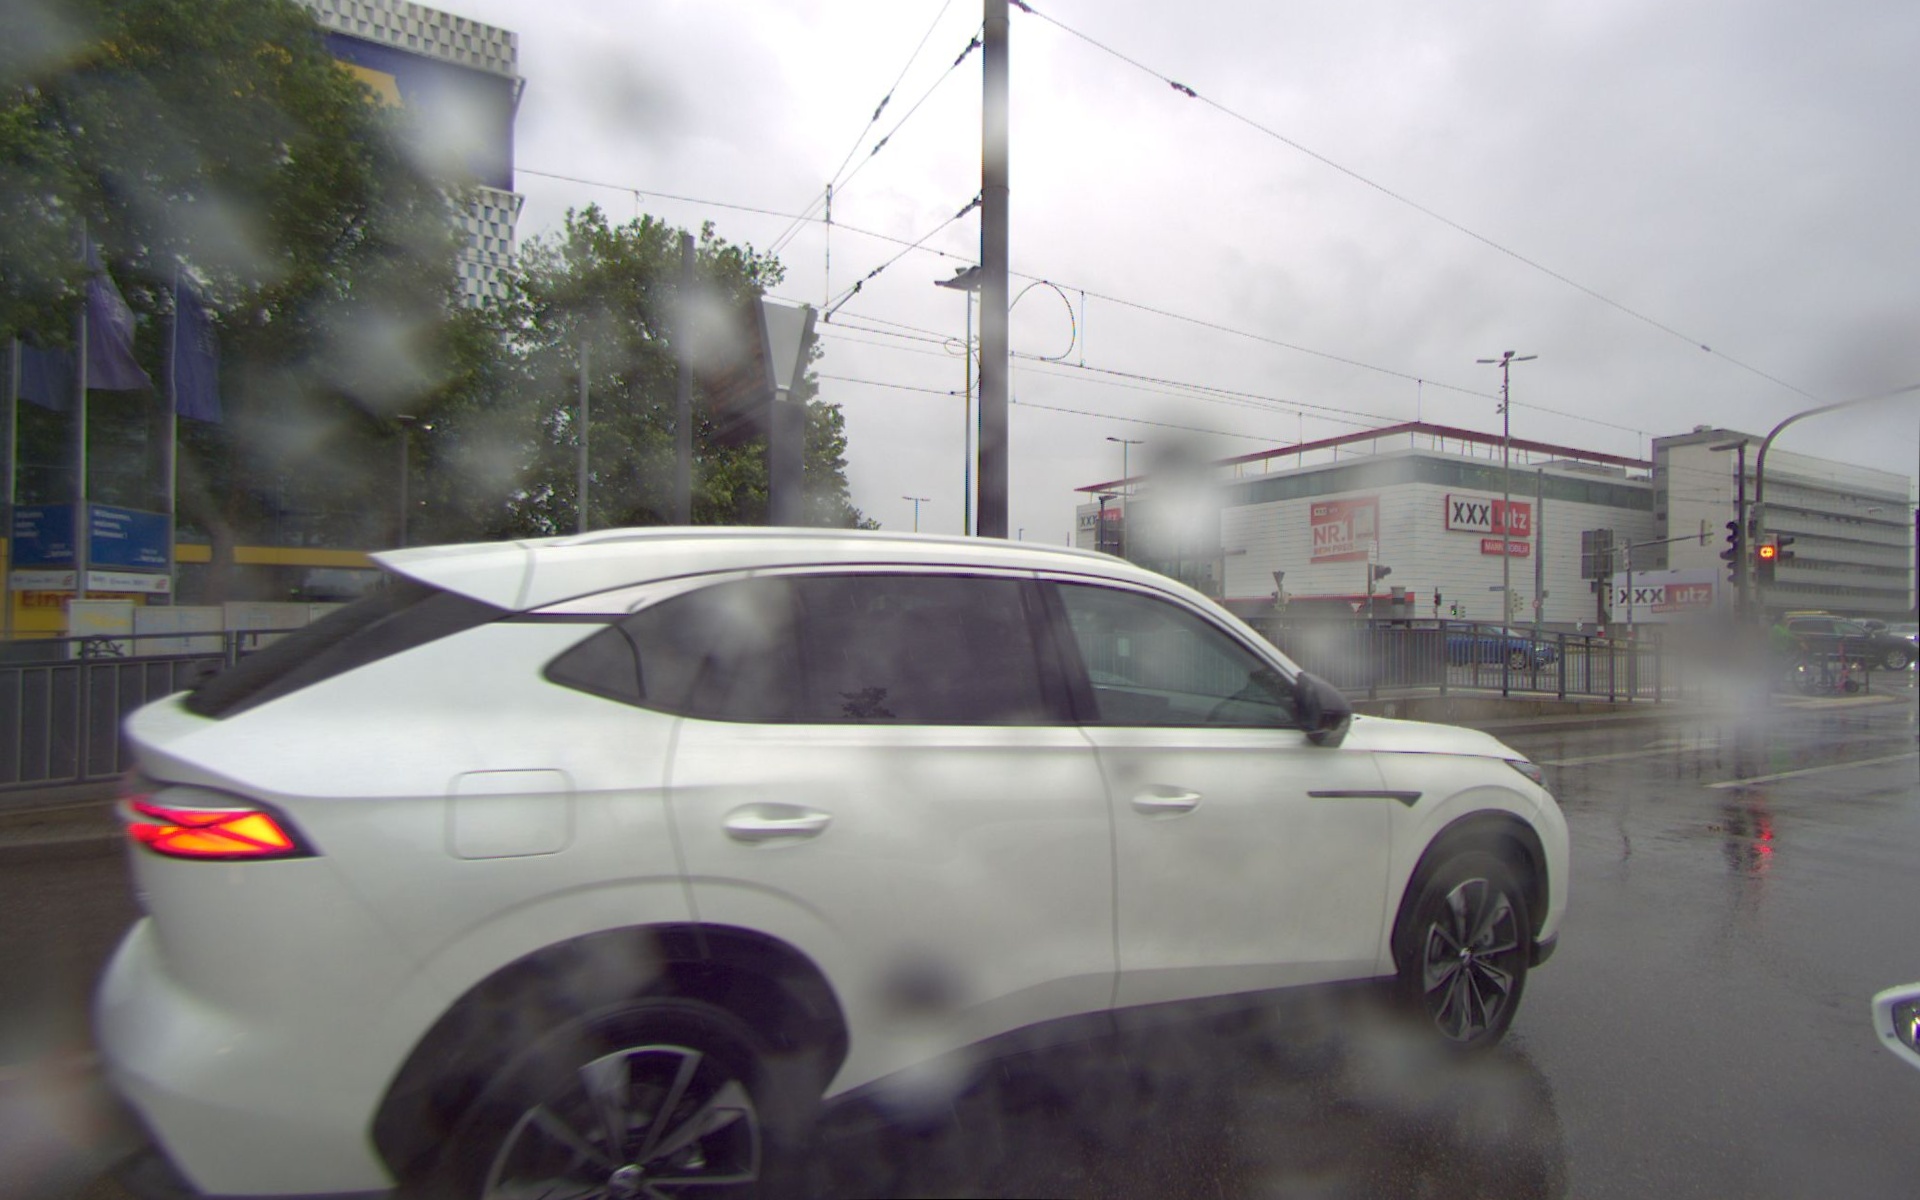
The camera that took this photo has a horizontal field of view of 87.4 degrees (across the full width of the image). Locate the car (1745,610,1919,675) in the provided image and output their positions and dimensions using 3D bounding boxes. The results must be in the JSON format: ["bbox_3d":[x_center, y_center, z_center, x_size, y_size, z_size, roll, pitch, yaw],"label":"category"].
[{"bbox_3d":[27.579,1.296,31.888,3.722,1.696,1.706,4,3,20],"label":"car"}]

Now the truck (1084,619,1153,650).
[{"bbox_3d":[12.317,2.676,78.570,1.990,1.968,5.847,3,1,-31],"label":"truck"}]

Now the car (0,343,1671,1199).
[{"bbox_3d":[0.092,0.591,3.302,4.609,1.799,1.921,2,0,-30],"label":"car"}]

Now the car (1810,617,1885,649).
[{"bbox_3d":[44.801,1.659,50.673,3.765,1.445,1.702,3,1,-30],"label":"car"}]

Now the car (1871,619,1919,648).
[{"bbox_3d":[50.979,1.813,54.267,3.527,1.445,1.552,3,1,-30],"label":"car"}]

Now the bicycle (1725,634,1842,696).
[{"bbox_3d":[16.665,1.301,20.362,1.724,1.153,0.520,2,0,18],"label":"bicycle"}]

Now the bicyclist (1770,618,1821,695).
[{"bbox_3d":[16.868,1.128,20.292,0.593,1.511,0.600,2,0,20],"label":"bicyclist"}]

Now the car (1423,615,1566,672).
[{"bbox_3d":[17.095,1.341,32.224,1.639,1.527,3.694,1,1,-43],"label":"car"}]

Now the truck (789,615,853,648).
[{"bbox_3d":[-11.416,2.528,81.854,2.445,2.240,7.329,3,1,-31],"label":"truck"}]

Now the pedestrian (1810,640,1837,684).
[{"bbox_3d":[18.497,1.331,21.518,0.376,0.909,0.313,1,2,-32],"label":"pedestrian"}]
